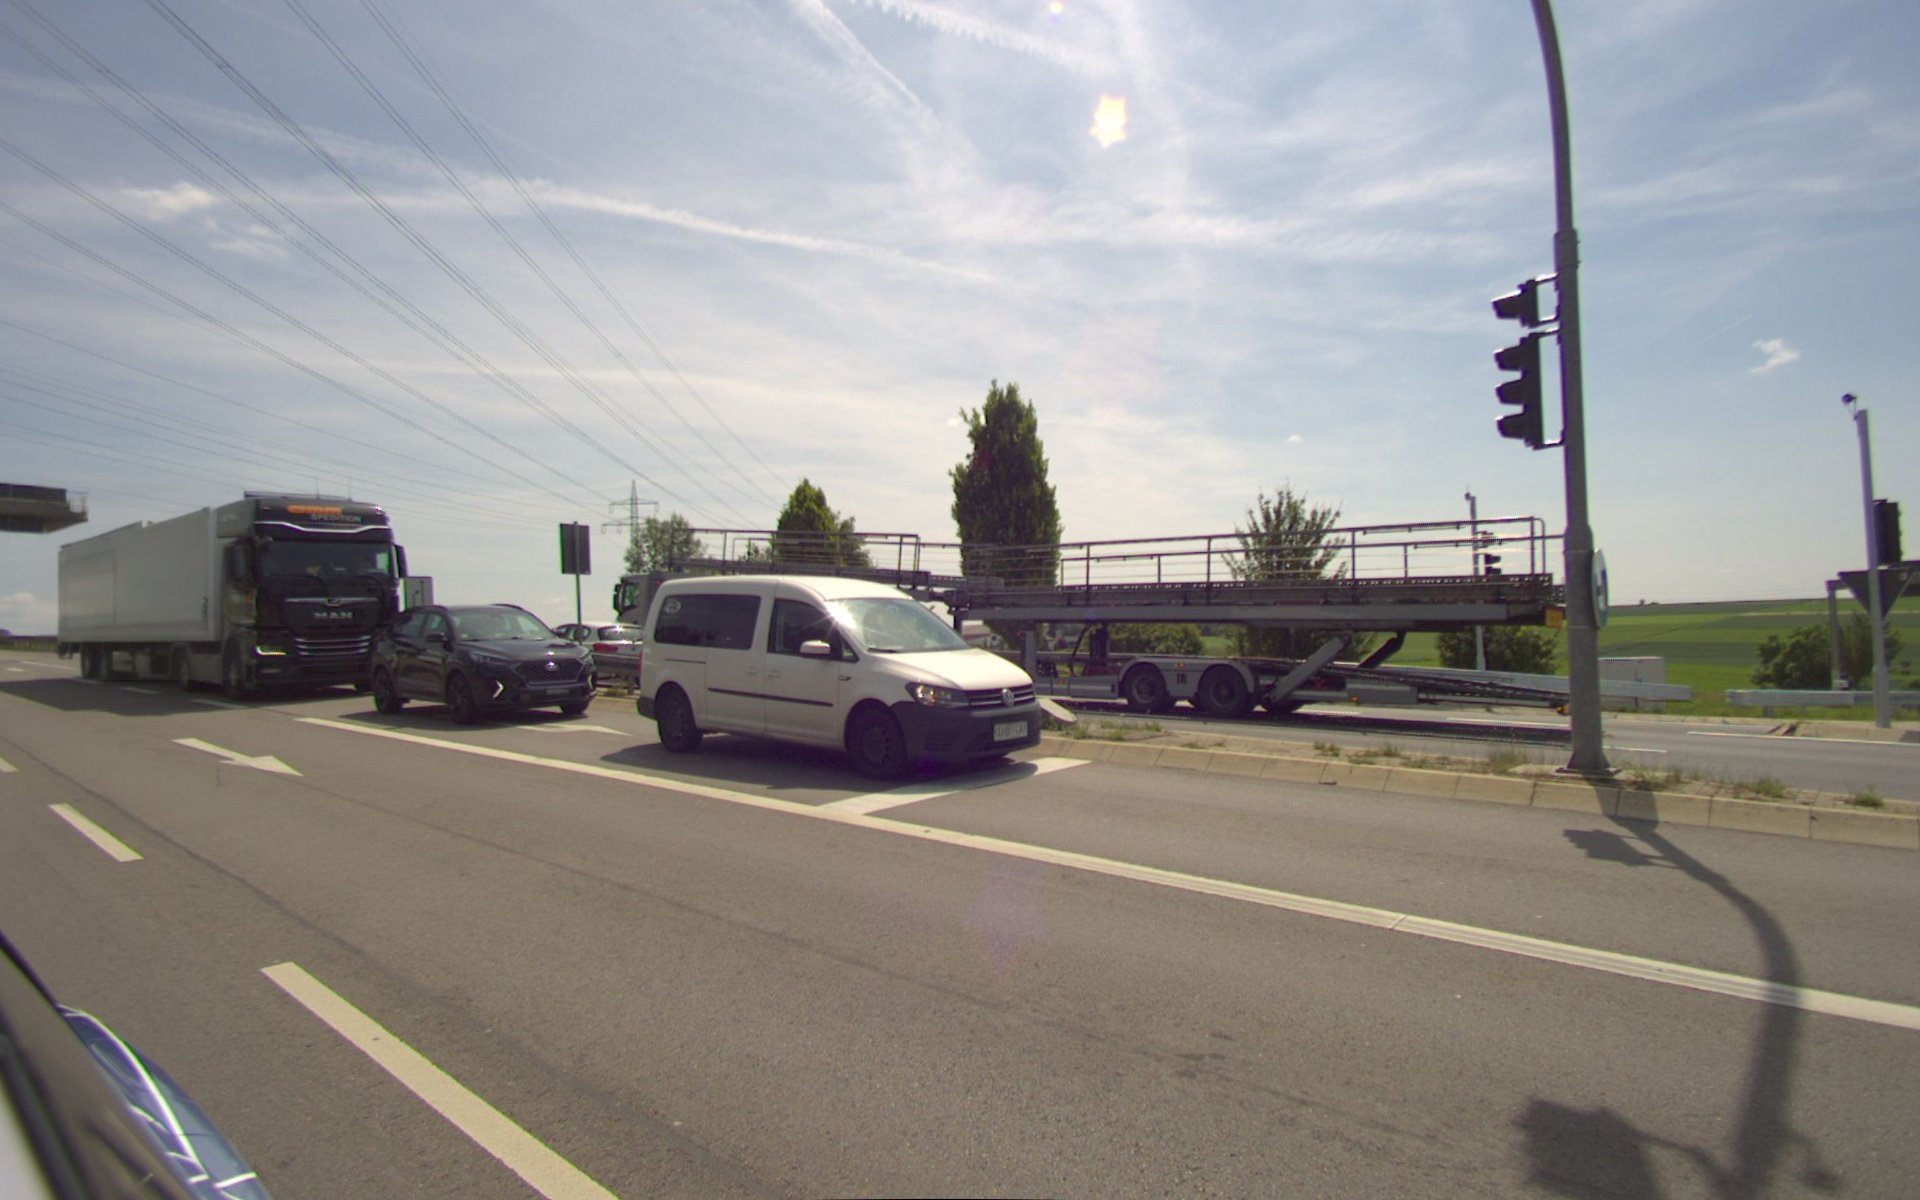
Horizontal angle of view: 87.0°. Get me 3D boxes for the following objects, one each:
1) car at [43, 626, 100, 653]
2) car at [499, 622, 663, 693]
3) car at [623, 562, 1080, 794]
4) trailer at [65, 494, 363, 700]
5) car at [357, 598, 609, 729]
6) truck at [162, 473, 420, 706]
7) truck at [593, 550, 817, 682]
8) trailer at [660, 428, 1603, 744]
[{"bbox_3d":[-52.162,2.299,59.386,4.319,1.516,1.719,-1,-3,39],"label":"car"},{"bbox_3d":[-8.557,1.227,22.686,3.998,1.445,1.754,-1,-2,41],"label":"car"},{"bbox_3d":[-1.286,0.650,10.114,4.749,1.812,1.749,-2,-1,41],"label":"car"},{"bbox_3d":[-18.833,0.061,24.879,13.776,3.943,2.755,-1,-1,40],"label":"trailer"},{"bbox_3d":[-7.241,0.862,15.165,4.346,1.670,1.836,-2,-1,41],"label":"car"},{"bbox_3d":[-13.656,-0.138,20.489,5.966,4.044,2.755,-1,-1,40],"label":"truck"},{"bbox_3d":[-6.707,0.416,26.200,5.987,3.036,2.770,-1,-1,42],"label":"truck"},{"bbox_3d":[0.725,-0.046,19.748,19.792,3.792,2.611,-1,-1,42],"label":"trailer"}]
